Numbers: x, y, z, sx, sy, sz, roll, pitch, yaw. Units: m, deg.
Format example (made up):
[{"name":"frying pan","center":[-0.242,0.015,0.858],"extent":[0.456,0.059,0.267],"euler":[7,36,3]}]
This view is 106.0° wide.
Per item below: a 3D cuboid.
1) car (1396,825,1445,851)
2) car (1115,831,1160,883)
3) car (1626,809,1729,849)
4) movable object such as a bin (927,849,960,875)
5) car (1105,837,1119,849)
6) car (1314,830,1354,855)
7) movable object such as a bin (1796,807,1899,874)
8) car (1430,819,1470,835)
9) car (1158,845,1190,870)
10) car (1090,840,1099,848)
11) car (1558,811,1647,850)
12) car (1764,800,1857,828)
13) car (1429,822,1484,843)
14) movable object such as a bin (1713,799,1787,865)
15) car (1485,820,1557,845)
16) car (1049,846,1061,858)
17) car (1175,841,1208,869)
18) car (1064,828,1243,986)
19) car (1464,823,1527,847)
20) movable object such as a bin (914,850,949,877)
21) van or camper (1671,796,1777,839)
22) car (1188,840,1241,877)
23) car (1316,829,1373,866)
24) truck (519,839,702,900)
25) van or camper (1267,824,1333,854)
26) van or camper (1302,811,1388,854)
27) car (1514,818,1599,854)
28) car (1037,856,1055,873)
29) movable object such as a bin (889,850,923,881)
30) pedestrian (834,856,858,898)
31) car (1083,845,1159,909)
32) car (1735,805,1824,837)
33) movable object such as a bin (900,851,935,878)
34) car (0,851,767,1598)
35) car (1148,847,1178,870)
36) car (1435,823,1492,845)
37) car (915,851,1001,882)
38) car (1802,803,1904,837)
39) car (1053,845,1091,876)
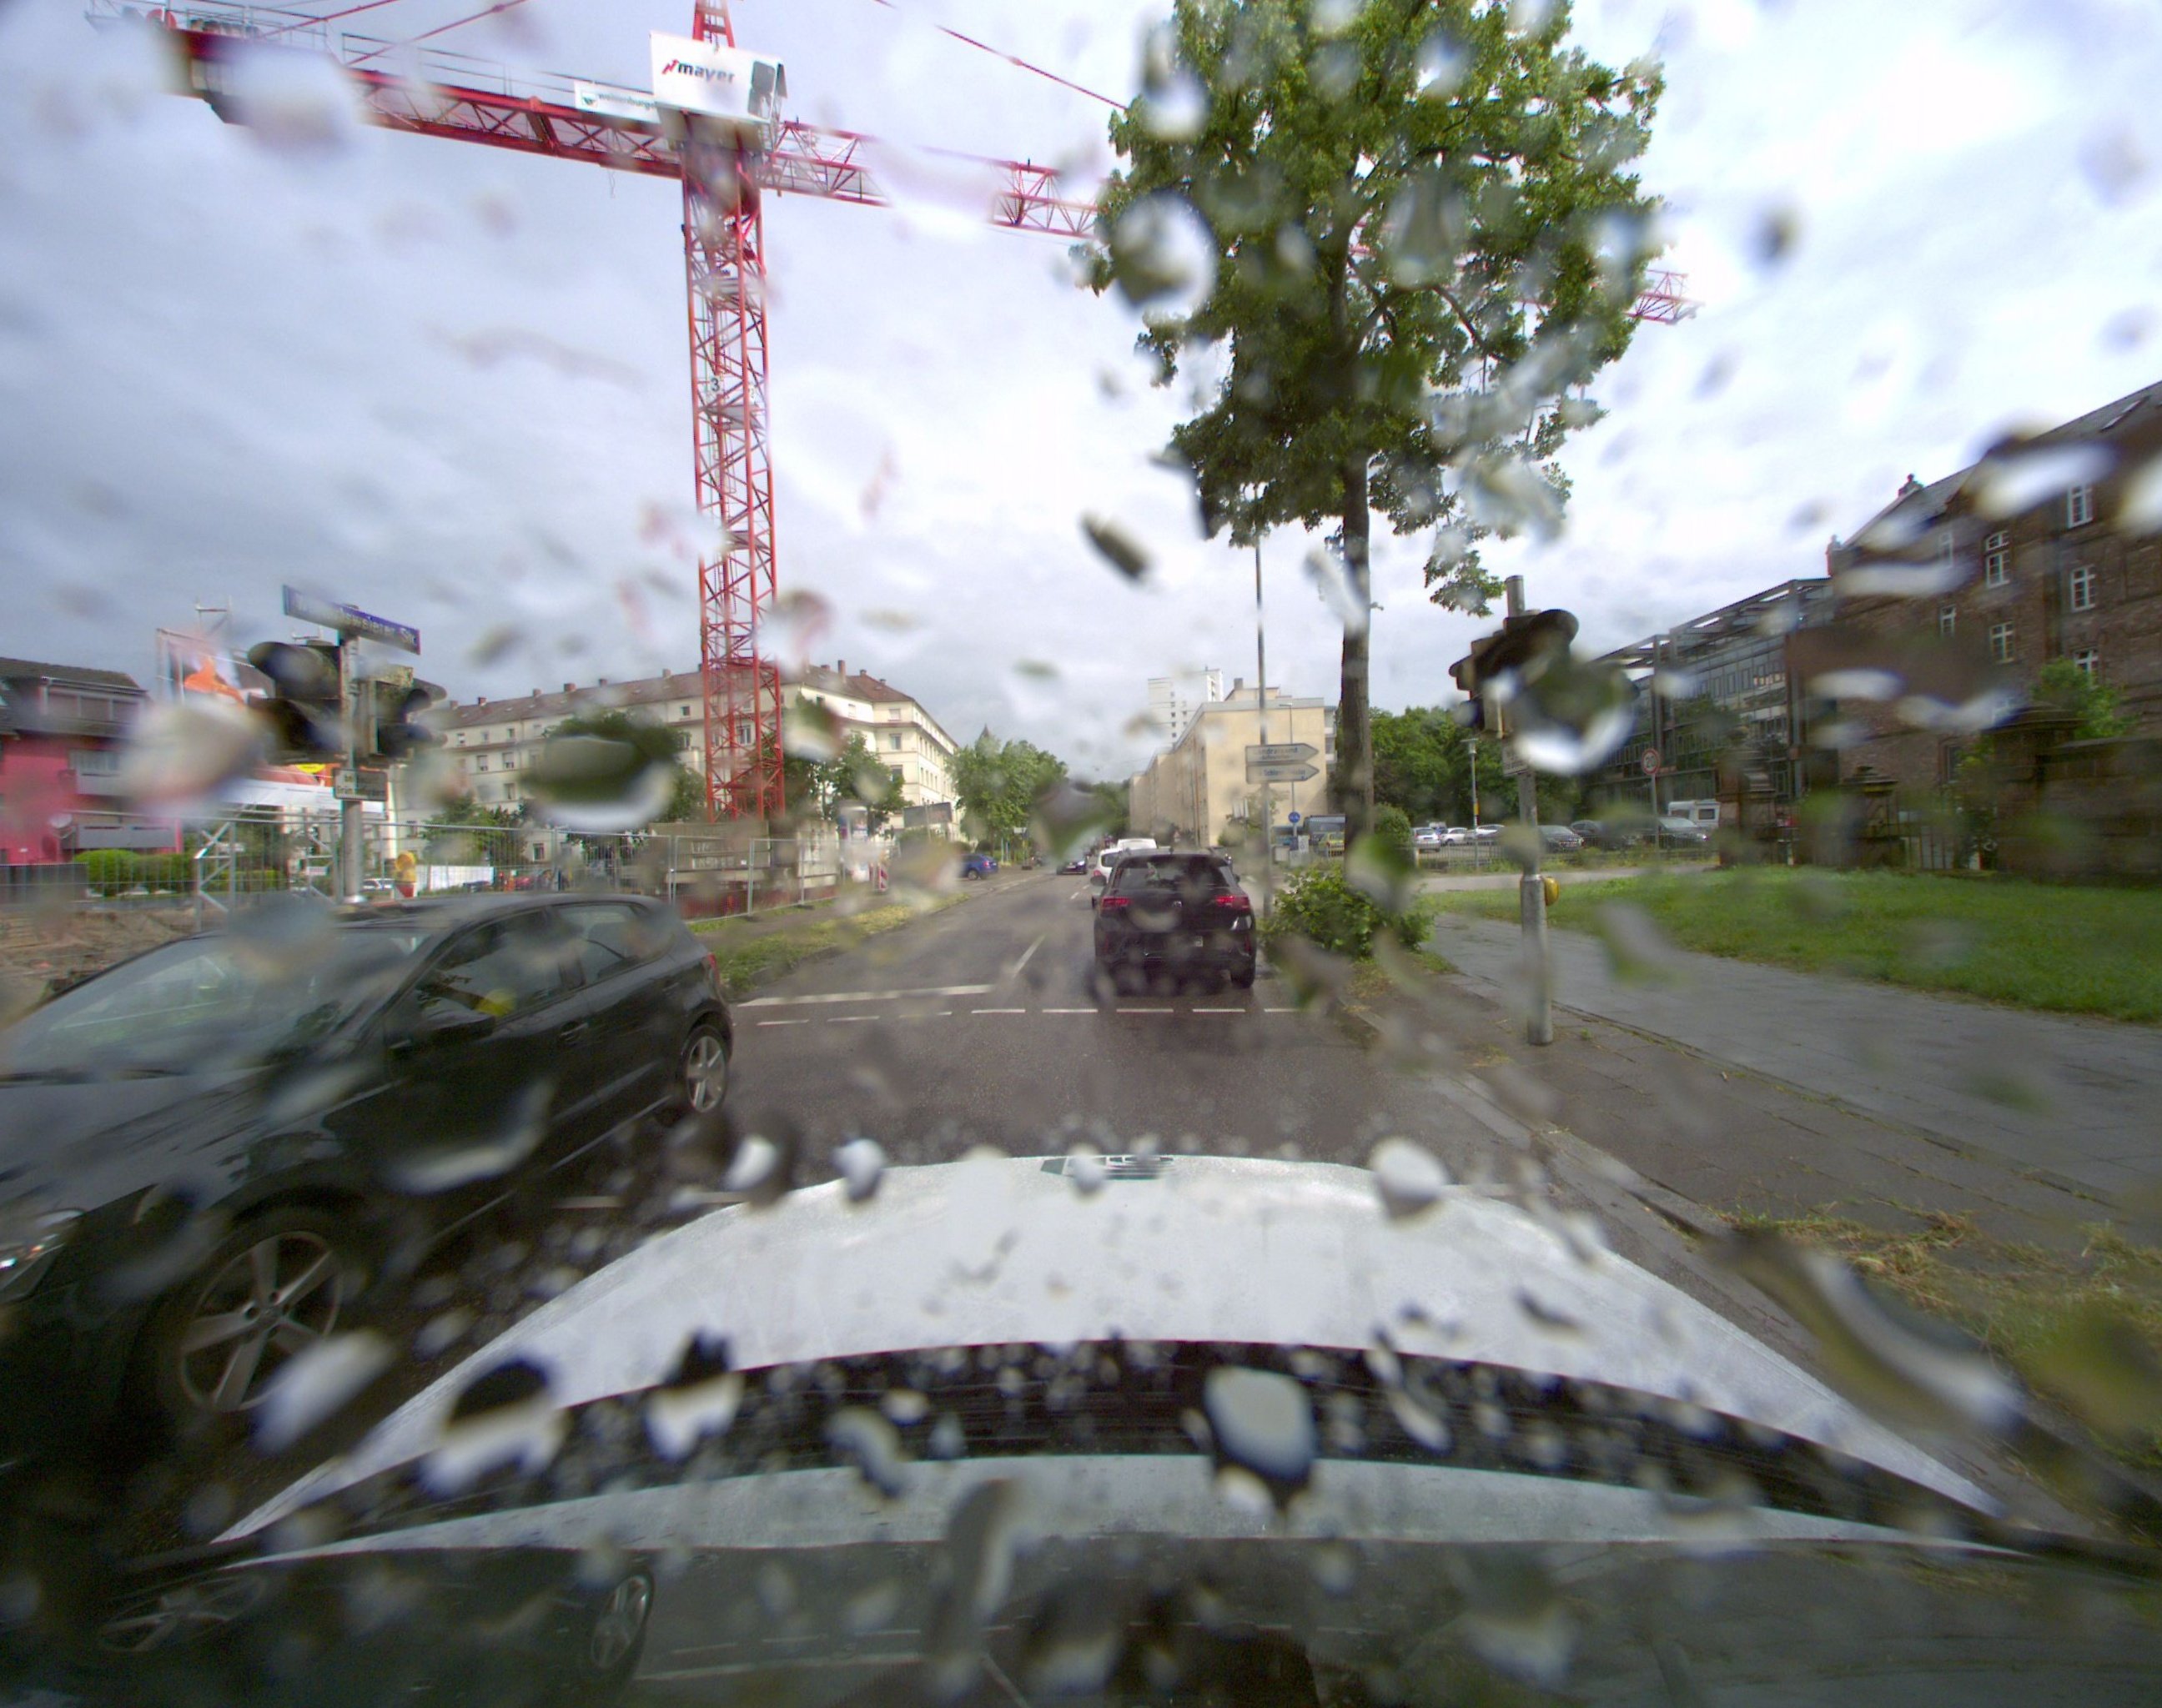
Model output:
[{"name":"car","center":[20.815,-0.979,50.042],"extent":[1.641,1.486,3.724],"euler":[-3,0,5]},{"name":"car","center":[2.442,0.130,35.286],"extent":[1.828,2.103,4.004],"euler":[-1,0,4]},{"name":"car","center":[28.214,-1.153,38.699],"extent":[1.845,1.679,4.429],"euler":[-3,0,4]},{"name":"movable object such as a bin","center":[-9.374,0.522,55.564],"extent":[1.524,1.661,1.466],"euler":[-3,1,21]},{"name":"car","center":[4.565,-1.651,118.781],"extent":[1.833,1.608,3.679],"euler":[-4,0,3]},{"name":"car","center":[15.704,-0.713,50.659],"extent":[1.603,1.448,3.421],"euler":[-3,0,4]},{"name":"movable object such as a bin","center":[18.257,-0.322,19.452],"extent":[1.101,1.457,1.392],"euler":[-4,1,3]},{"name":"car","center":[36.193,-2.653,79.817],"extent":[3.209,1.397,1.511],"euler":[-3,0,5]},{"name":"car","center":[6.389,0.246,56.262],"extent":[1.599,1.508,4.159],"euler":[-5,0,0]},{"name":"car","center":[3.013,-2.208,181.680],"extent":[1.660,1.837,4.000],"euler":[-3,1,0]},{"name":"car","center":[24.898,-1.103,39.072],"extent":[1.843,1.679,4.433],"euler":[-3,0,8]},{"name":"car","center":[40.578,-2.219,45.365],"extent":[3.650,1.486,1.674],"euler":[0,0,3]},{"name":"car","center":[30.495,-1.738,66.245],"extent":[3.649,1.486,1.642],"euler":[-3,0,5]},{"name":"movable object such as a bin","center":[15.855,-0.513,19.336],"extent":[0.796,1.457,1.098],"euler":[-4,0,3]},{"name":"car","center":[30.257,-1.486,56.096],"extent":[3.957,1.465,1.674],"euler":[-3,0,3]},{"name":"car","center":[-3.740,-0.256,115.419],"extent":[1.582,1.639,3.917],"euler":[-4,0,-2]},{"name":"car","center":[6.840,0.104,50.792],"extent":[1.748,1.527,4.006],"euler":[-5,-2,5]},{"name":"car","center":[0.842,0.568,10.619],"extent":[1.866,1.645,4.064],"euler":[-1,0,2]},{"name":"car","center":[29.789,-1.375,58.601],"extent":[3.649,1.486,1.642],"euler":[-3,0,5]},{"name":"movable object such as a bin","center":[-9.936,0.603,54.061],"extent":[1.524,1.674,1.675],"euler":[-3,1,21]},{"name":"van or camper","center":[39.662,-2.251,50.342],"extent":[4.768,2.486,2.259],"euler":[-1,-1,1]},{"name":"car","center":[6.350,0.189,39.230],"extent":[1.768,1.539,4.378],"euler":[-5,0,1]},{"name":"car","center":[13.658,-0.363,42.468],"extent":[1.796,1.749,4.243],"euler":[-3,0,4]},{"name":"truck","center":[-28.994,0.944,50.285],"extent":[9.739,3.184,3.808],"euler":[-3,0,15]},{"name":"van or camper","center":[17.327,-1.217,64.624],"extent":[4.736,2.131,2.325],"euler":[-2,1,5]},{"name":"van or camper","center":[17.541,-1.401,54.255],"extent":[4.977,2.554,2.177],"euler":[-2,-1,3]},{"name":"car","center":[22.480,-0.838,38.728],"extent":[1.819,1.527,4.432],"euler":[-3,0,7]},{"name":"car","center":[-3.420,1.025,79.505],"extent":[1.582,1.505,4.061],"euler":[-4,0,-2]},{"name":"movable object such as a bin","center":[-10.943,0.690,50.982],"extent":[1.524,1.824,1.270],"euler":[-3,1,21]},{"name":"pedestrian","center":[-9.371,0.904,32.485],"extent":[0.727,1.629,0.677],"euler":[0,-1,-36]},{"name":"car","center":[1.026,0.560,21.439],"extent":[1.806,1.503,4.002],"euler":[-1,0,2]},{"name":"car","center":[40.619,-1.905,47.435],"extent":[3.651,1.576,1.674],"euler":[-3,0,3]},{"name":"movable object such as a bin","center":[-10.531,0.663,52.513],"extent":[1.524,1.656,1.536],"euler":[-3,1,21]},{"name":"car","center":[-3.135,0.814,3.545],"extent":[1.806,1.540,3.983],"euler":[-3,0,2]},{"name":"car","center":[6.246,0.368,62.494],"extent":[1.744,1.508,4.108],"euler":[-2,-3,-2]},{"name":"car","center":[30.106,-1.541,64.129],"extent":[3.649,1.486,1.642],"euler":[-3,0,5]},{"name":"car","center":[-6.923,0.710,45.906],"extent":[4.399,1.585,1.829],"euler":[-1,1,15]},{"name":"car","center":[40.371,-1.746,42.661],"extent":[3.651,1.524,1.674],"euler":[-3,0,3]},{"name":"car","center":[-0.485,0.355,47.663],"extent":[1.833,1.608,4.004],"euler":[-4,0,3]}]
